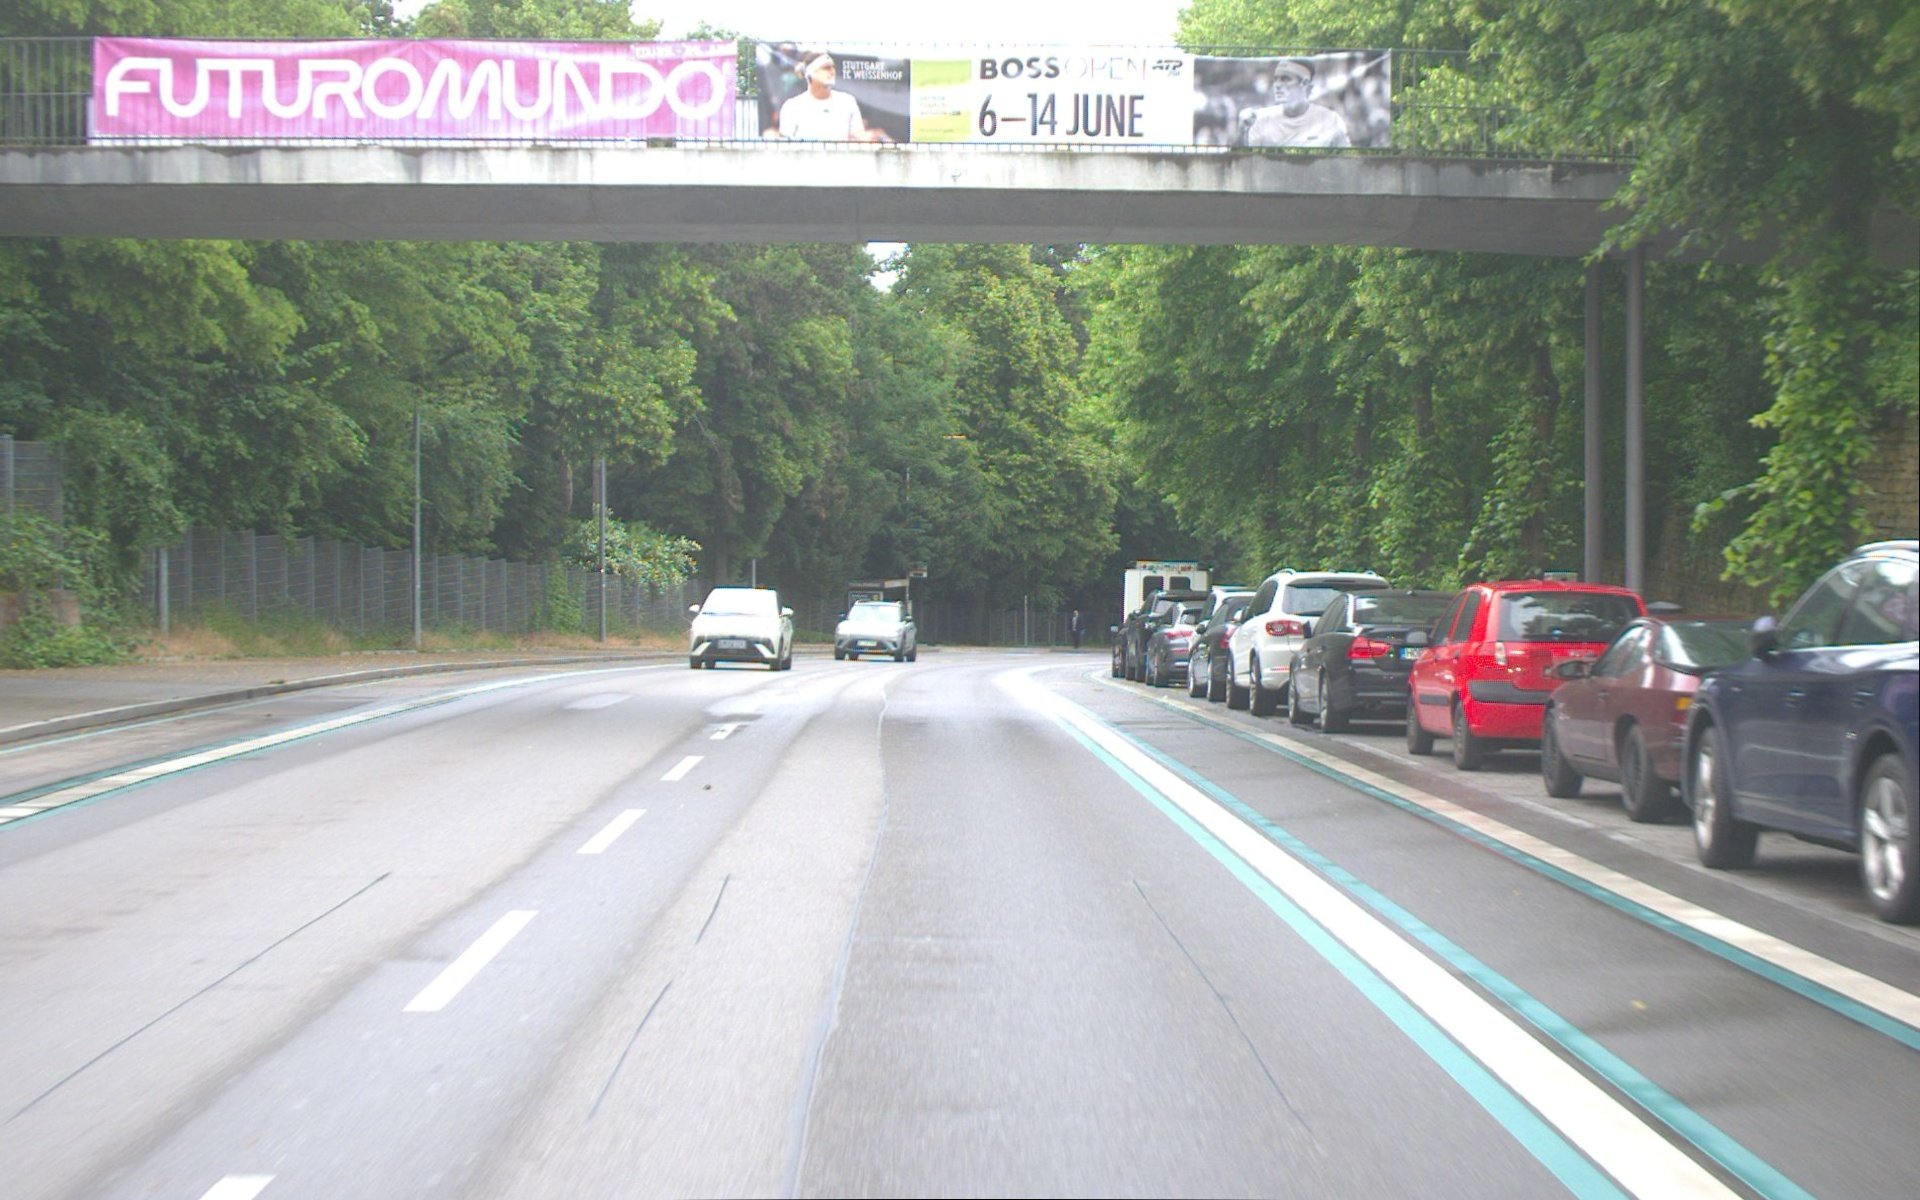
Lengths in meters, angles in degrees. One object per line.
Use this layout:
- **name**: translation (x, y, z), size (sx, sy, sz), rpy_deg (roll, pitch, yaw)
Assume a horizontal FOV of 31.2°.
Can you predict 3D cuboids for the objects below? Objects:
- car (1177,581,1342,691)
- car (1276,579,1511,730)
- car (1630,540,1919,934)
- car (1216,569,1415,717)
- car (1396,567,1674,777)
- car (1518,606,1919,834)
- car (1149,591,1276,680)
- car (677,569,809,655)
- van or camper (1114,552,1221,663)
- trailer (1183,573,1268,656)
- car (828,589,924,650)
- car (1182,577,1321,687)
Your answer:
- **car**: translation (3.999, 0.526, 46.572), size (1.718, 1.371, 4.558), rpy_deg (1, -2, -1)
- **car**: translation (4.279, 0.546, 34.521), size (1.672, 1.389, 4.450), rpy_deg (1, -1, -1)
- **car**: translation (4.736, 0.536, 16.055), size (1.993, 1.555, 4.644), rpy_deg (1, 1, -4)
- **car**: translation (4.101, 0.487, 40.237), size (1.713, 1.613, 4.261), rpy_deg (1, 0, -2)
- **car**: translation (4.568, 0.527, 27.757), size (1.559, 1.461, 3.626), rpy_deg (1, 2, -1)
- **car**: translation (4.803, 0.702, 22.014), size (1.625, 1.186, 4.184), rpy_deg (1, 1, -2)
- **car**: translation (4.088, 0.596, 56.188), size (1.775, 1.344, 4.466), rpy_deg (2, -1, 1)
- **car**: translation (-4.099, 0.207, 65.547), size (1.972, 1.547, 3.869), rpy_deg (1, 0, 4)
- **van or camper**: translation (5.311, 0.204, 87.141), size (2.317, 2.655, 6.380), rpy_deg (2, 0, 6)
- **trailer**: translation (8.988, 0.503, 115.943), size (2.317, 2.663, 5.374), rpy_deg (2, 0, 9)
- **car**: translation (-2.230, 0.543, 92.224), size (1.797, 1.571, 4.100), rpy_deg (1, -1, 10)
- **car**: translation (4.300, 0.474, 51.185), size (1.661, 1.530, 3.741), rpy_deg (2, -1, -1)
